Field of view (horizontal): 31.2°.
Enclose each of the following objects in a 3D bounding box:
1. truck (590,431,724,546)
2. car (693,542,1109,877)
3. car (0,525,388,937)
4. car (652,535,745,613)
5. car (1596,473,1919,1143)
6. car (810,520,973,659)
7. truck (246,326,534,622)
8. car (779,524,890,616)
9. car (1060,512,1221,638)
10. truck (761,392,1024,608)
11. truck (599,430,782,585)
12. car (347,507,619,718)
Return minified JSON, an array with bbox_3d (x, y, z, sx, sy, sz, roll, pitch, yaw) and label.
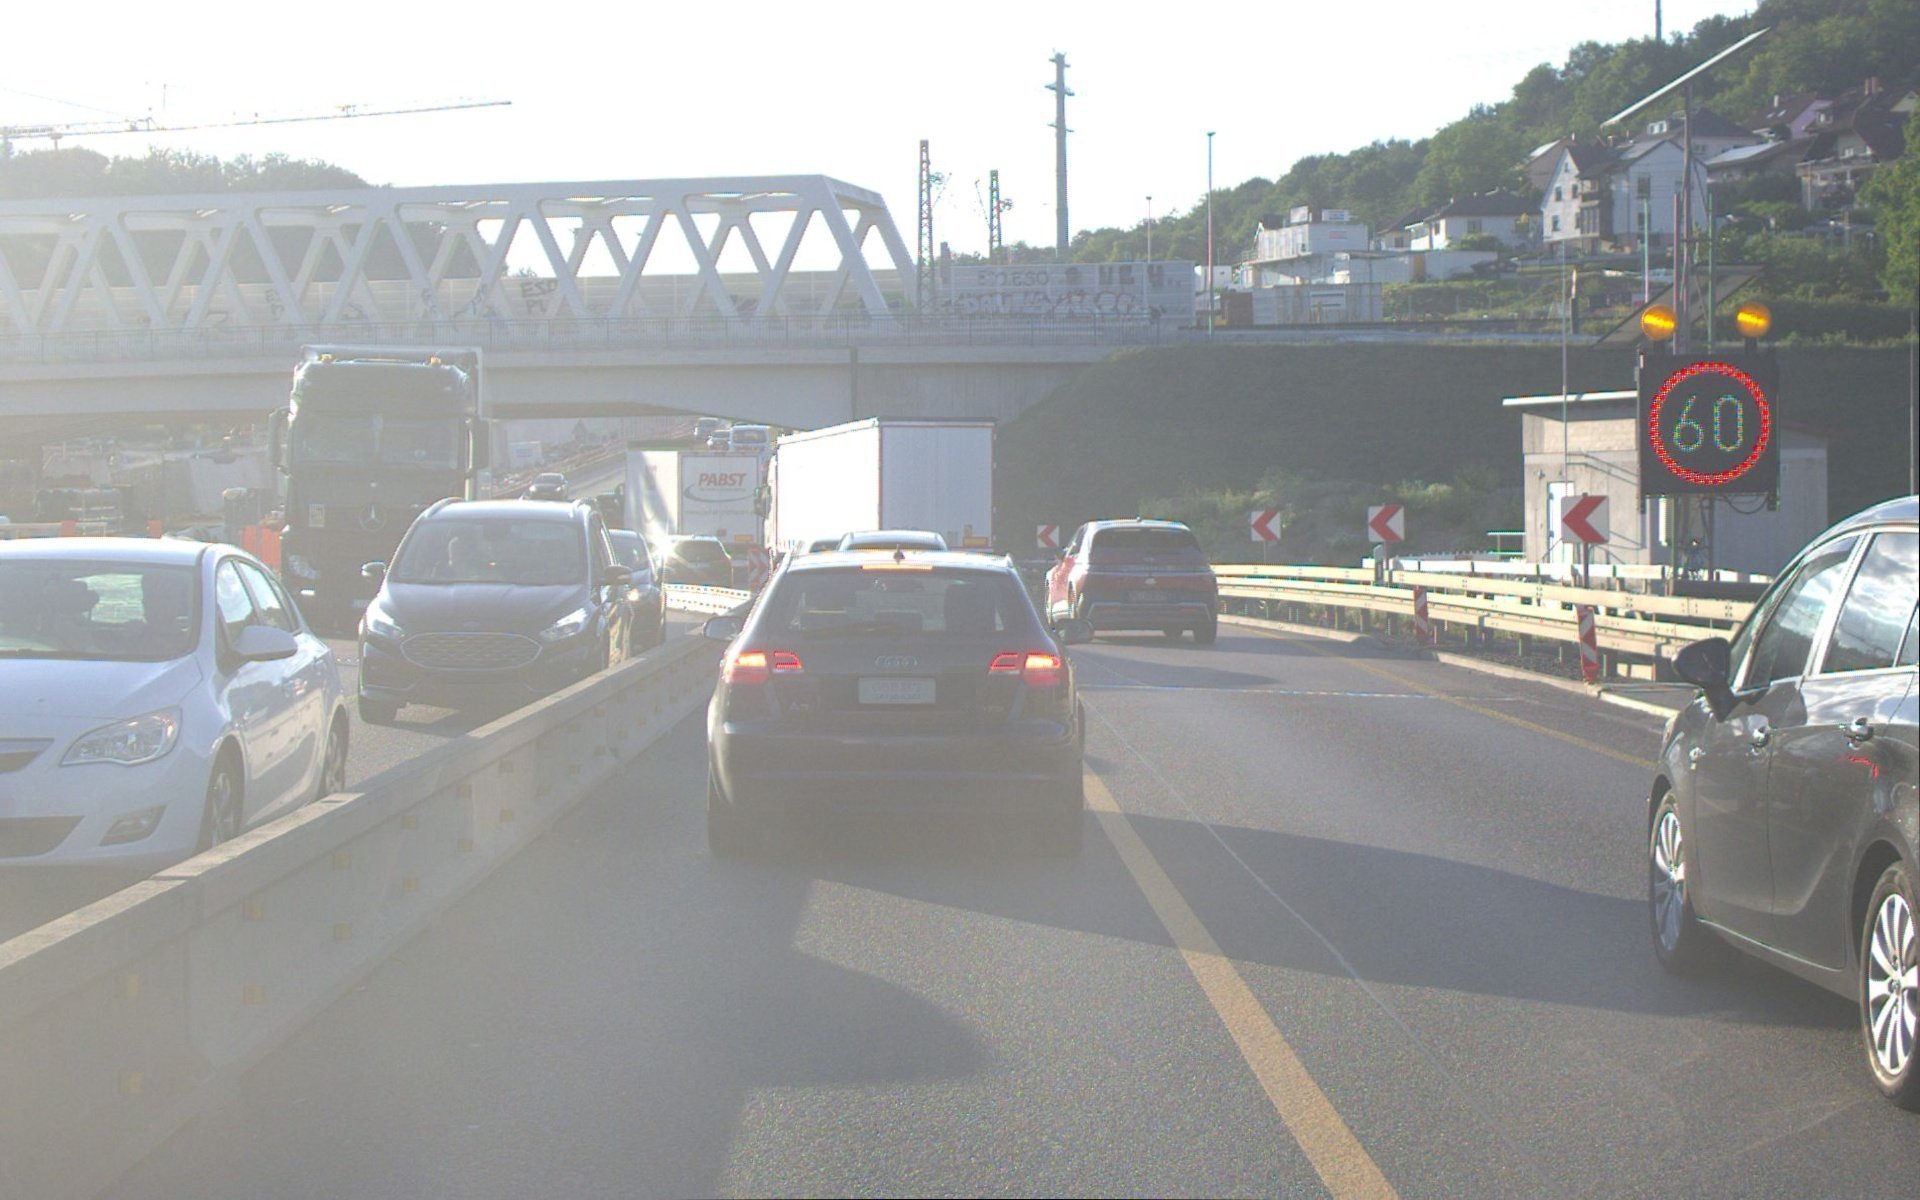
[{"bbox_3d":[-12.827,-4.733,144.037,3.889,4.482,13.853,1,2,-12],"label":"truck"},{"bbox_3d":[-0.314,0.444,16.962,1.770,1.385,4.001,2,1,-2],"label":"car"},{"bbox_3d":[-3.773,0.433,14.764,1.923,1.492,4.368,1,1,0],"label":"car"},{"bbox_3d":[-6.162,-0.629,80.665,1.698,1.726,4.001,1,1,-11],"label":"car"},{"bbox_3d":[3.232,0.479,10.170,1.814,1.626,4.411,1,1,-1],"label":"car"},{"bbox_3d":[-0.830,-0.161,39.933,1.765,1.481,4.001,2,1,-2],"label":"car"},{"bbox_3d":[-8.171,-1.792,50.596,2.930,3.877,10.265,1,1,-3],"label":"truck"},{"bbox_3d":[-2.209,-0.549,59.679,1.765,1.481,4.001,2,1,-4],"label":"car"},{"bbox_3d":[2.353,-0.364,45.588,1.770,1.547,4.001,2,1,-2],"label":"car"},{"bbox_3d":[-1.852,-2.264,80.083,3.384,4.483,15.272,1,1,-11],"label":"truck"},{"bbox_3d":[-8.741,-2.893,109.110,3.889,4.483,15.272,1,1,-11],"label":"truck"},{"bbox_3d":[-3.719,0.044,27.443,1.792,1.534,4.368,0,1,-3],"label":"car"}]
